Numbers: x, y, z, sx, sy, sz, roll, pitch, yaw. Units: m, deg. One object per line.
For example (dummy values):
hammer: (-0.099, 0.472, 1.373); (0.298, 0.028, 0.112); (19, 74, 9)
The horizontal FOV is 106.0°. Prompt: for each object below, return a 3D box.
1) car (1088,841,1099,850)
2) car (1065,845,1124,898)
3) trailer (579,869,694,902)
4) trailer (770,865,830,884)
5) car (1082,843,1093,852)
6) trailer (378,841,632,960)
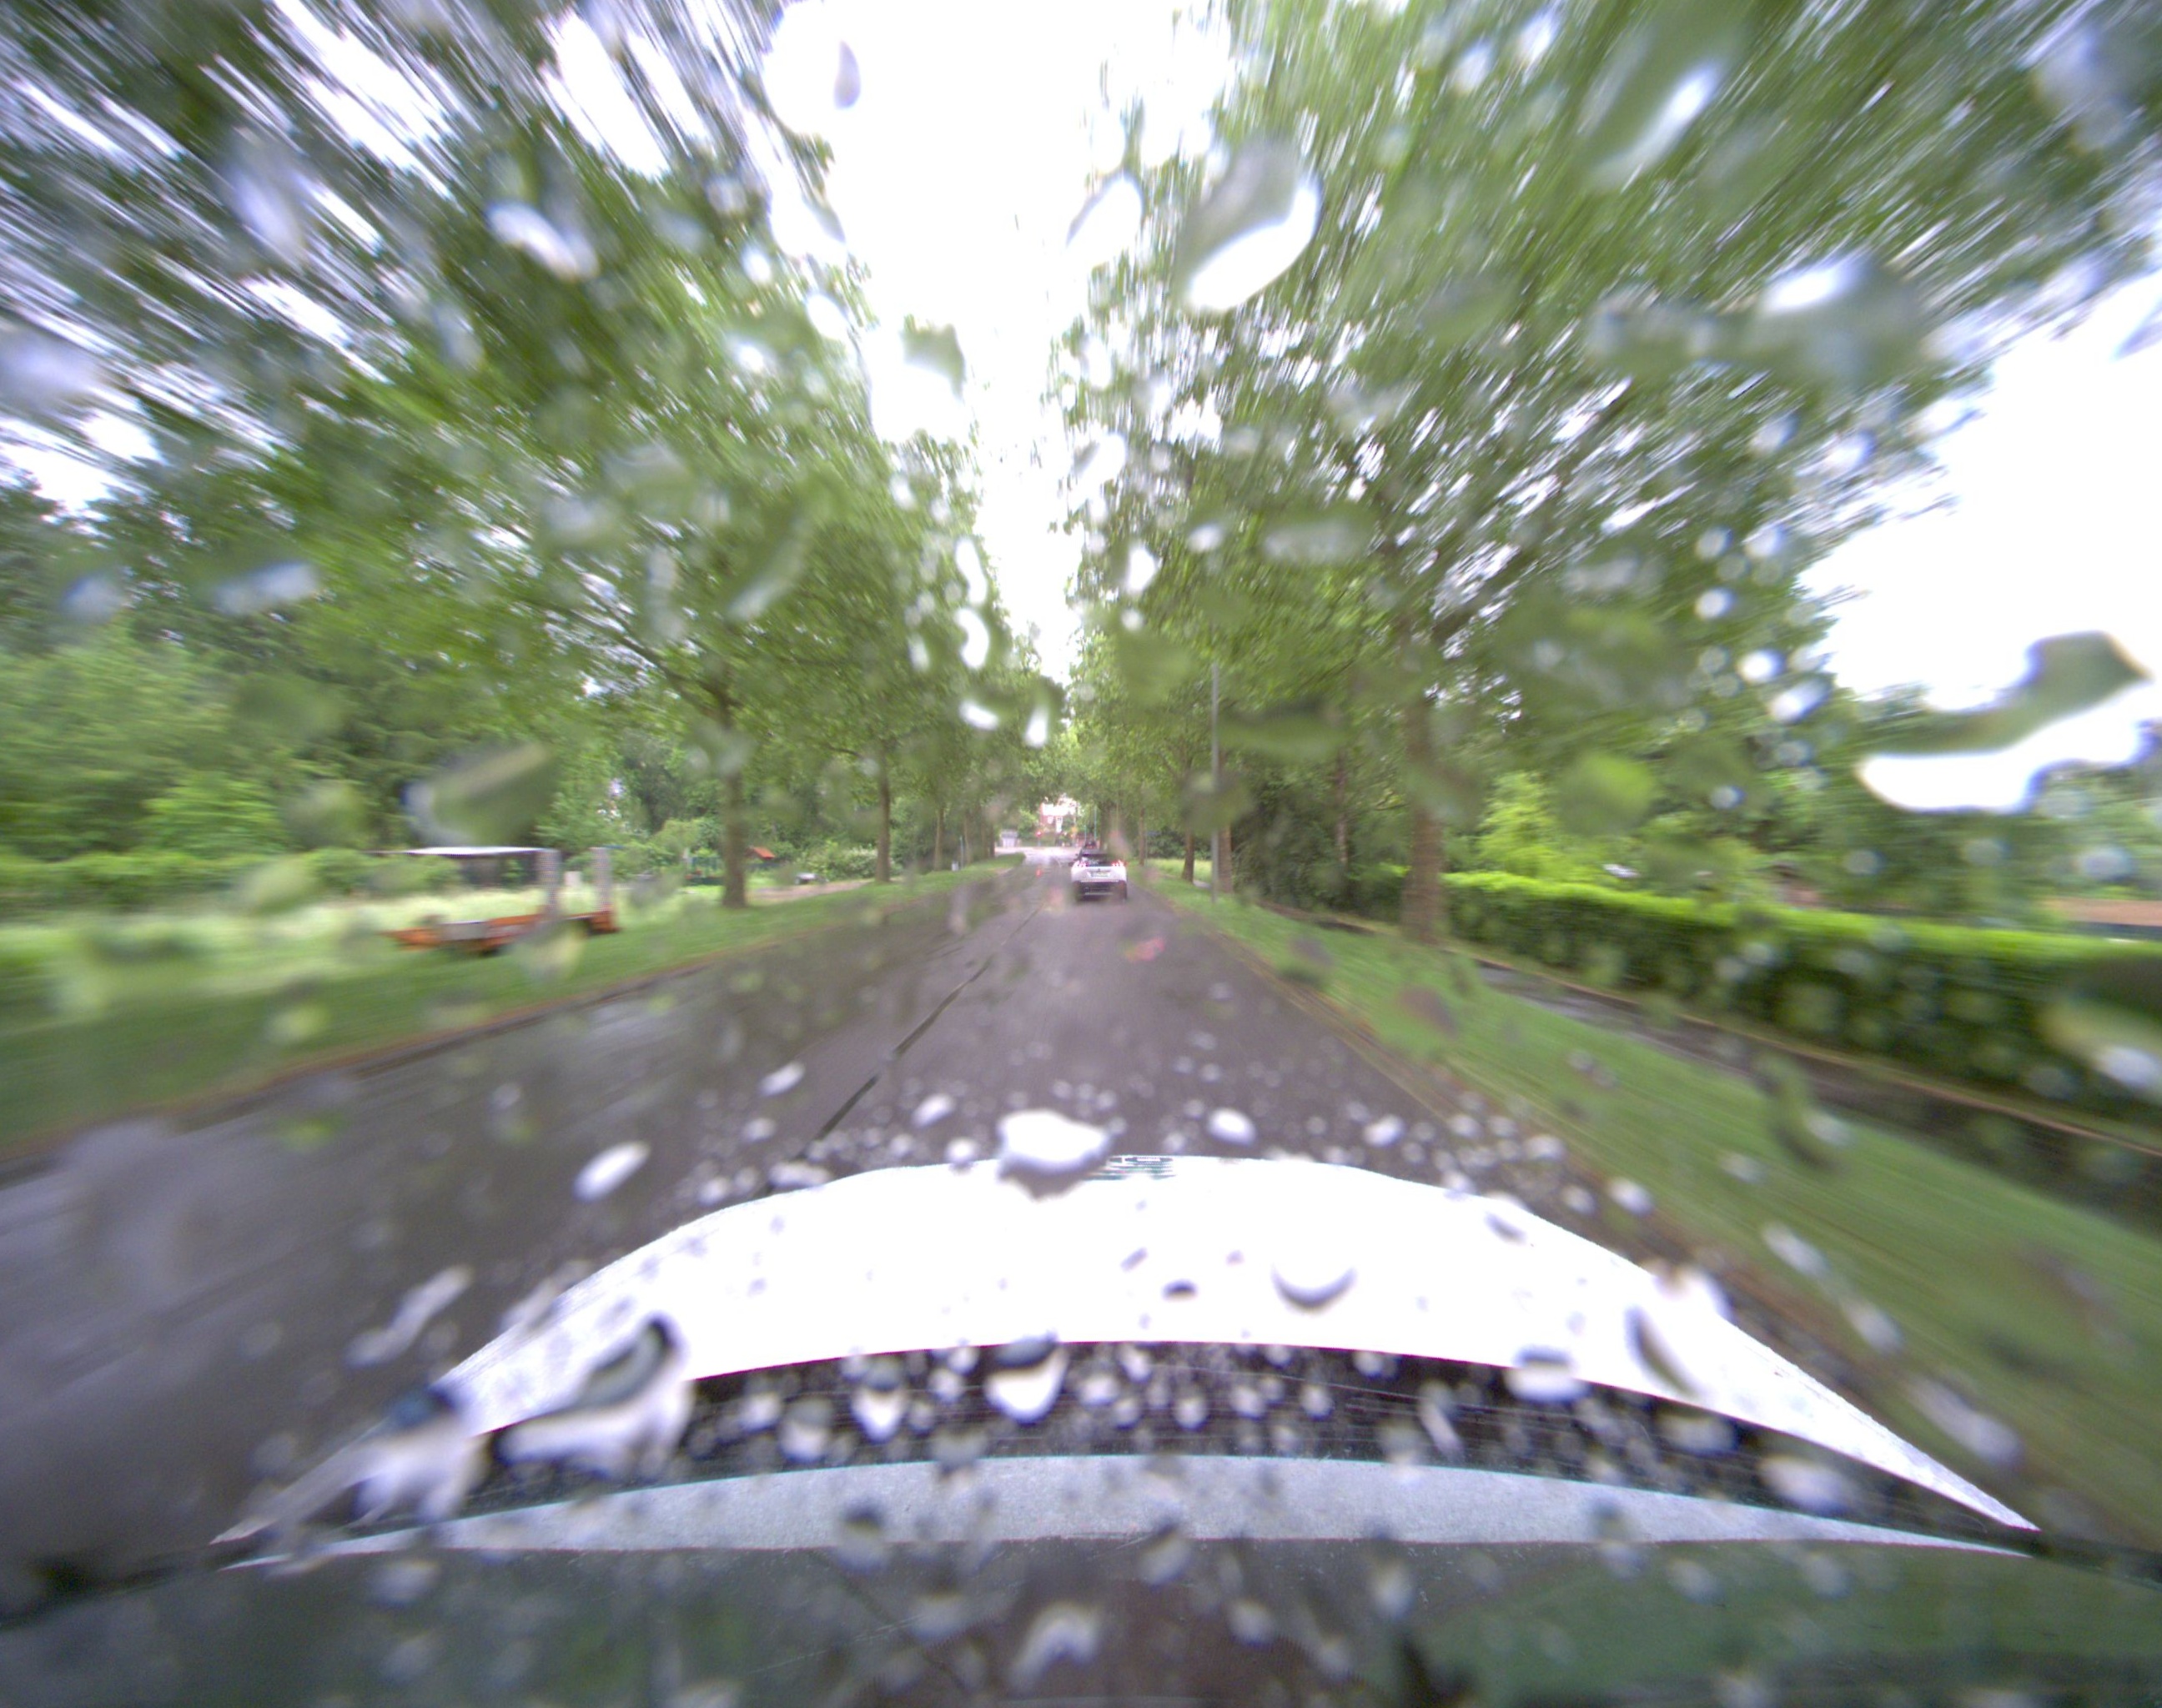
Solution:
car: (2.334, -1.485, 147.036); (1.819, 1.596, 3.657); (1, 0, 3)
car: (0.482, 0.509, 26.774); (1.787, 1.578, 3.846); (0, 1, 2)
trailer: (-20.682, 1.430, 38.063); (4.228, 1.376, 1.996); (-1, 1, -6)
trailer: (-19.520, 1.397, 56.658); (3.549, 1.178, 1.819); (-1, 1, -6)
car: (1.300, -1.204, 156.634); (1.819, 1.596, 3.657); (1, 0, 3)
trailer: (-14.072, 0.998, 20.474); (2.476, 2.567, 5.334); (0, 0, 1)
